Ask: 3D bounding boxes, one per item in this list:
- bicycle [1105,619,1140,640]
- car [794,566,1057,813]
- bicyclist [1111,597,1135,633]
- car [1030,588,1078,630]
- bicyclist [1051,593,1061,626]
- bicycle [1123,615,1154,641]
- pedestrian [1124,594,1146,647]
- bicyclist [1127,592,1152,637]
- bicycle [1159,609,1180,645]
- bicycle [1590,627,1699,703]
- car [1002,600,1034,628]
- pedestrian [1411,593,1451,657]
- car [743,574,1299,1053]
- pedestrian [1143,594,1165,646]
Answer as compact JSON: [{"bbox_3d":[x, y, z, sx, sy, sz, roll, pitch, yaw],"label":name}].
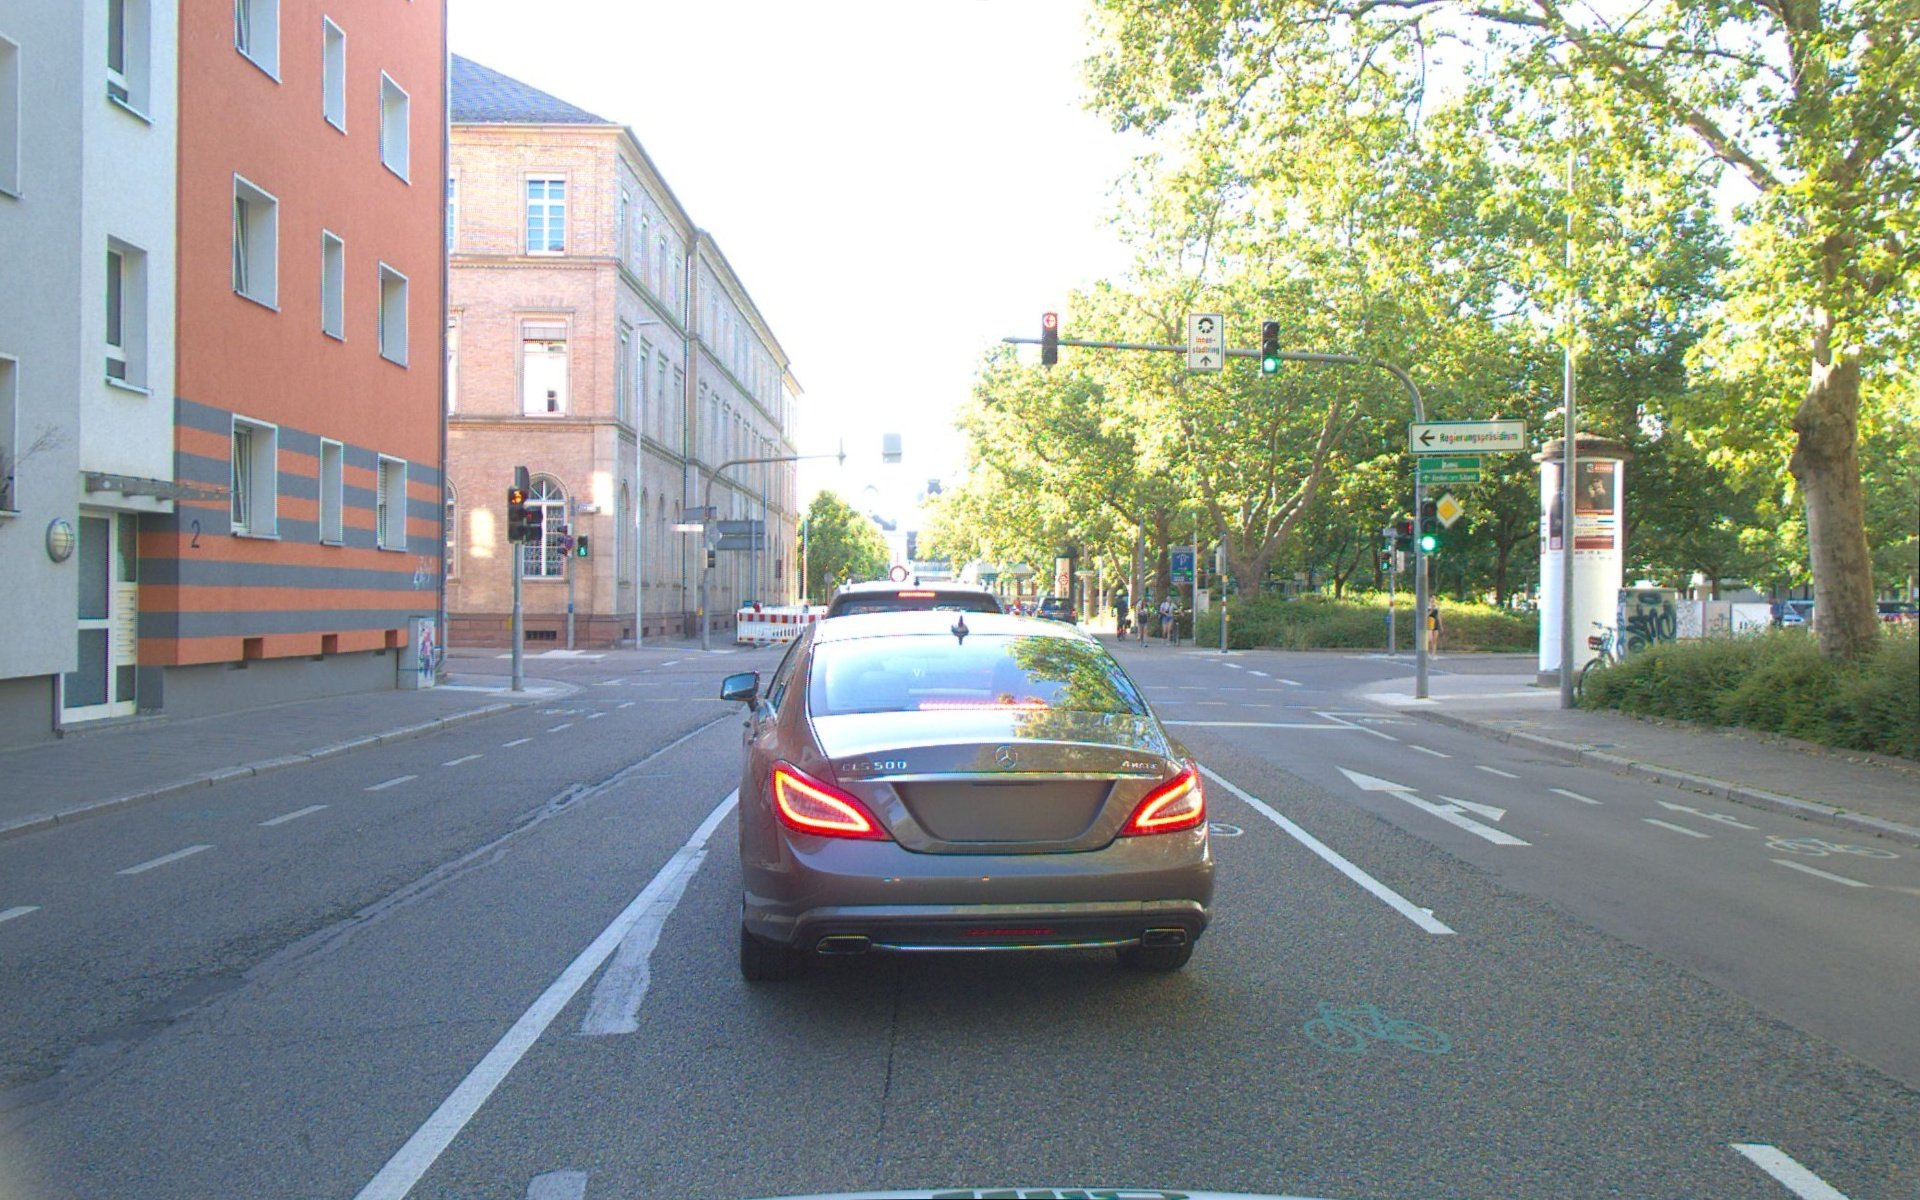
[{"bbox_3d":[6.394,1.145,64.926,0.709,0.805,1.925,1,0,27],"label":"bicycle"},{"bbox_3d":[-0.269,0.621,13.593,1.823,1.712,3.999,1,0,-1],"label":"car"},{"bbox_3d":[6.398,0.586,64.916,0.719,1.422,0.697,1,-1,28],"label":"bicyclist"},{"bbox_3d":[4.153,0.372,73.856,1.823,1.794,4.481,1,0,-1],"label":"car"},{"bbox_3d":[6.106,0.622,105.208,0.583,2.075,0.565,1,-1,-5],"label":"bicyclist"},{"bbox_3d":[6.658,1.045,61.833,0.811,0.940,2.616,1,0,-1],"label":"bicycle"},{"bbox_3d":[6.098,0.697,57.665,0.623,1.828,0.698,1,-1,-5],"label":"pedestrian"},{"bbox_3d":[6.684,0.534,61.711,0.808,1.646,0.957,1,0,-1],"label":"bicyclist"},{"bbox_3d":[7.270,0.944,57.401,0.472,1.223,1.606,1,0,-1],"label":"bicycle"},{"bbox_3d":[9.872,0.924,23.838,1.868,1.046,0.633,1,-1,-39],"label":"bicycle"},{"bbox_3d":[3.337,0.805,95.647,1.670,1.545,3.999,1,0,-1],"label":"car"},{"bbox_3d":[11.697,0.615,41.092,0.624,1.572,0.908,1,0,-10],"label":"pedestrian"},{"bbox_3d":[-0.032,0.692,7.465,1.826,1.545,3.993,1,0,-8],"label":"car"},{"bbox_3d":[6.760,0.705,57.608,0.623,1.791,0.698,1,-1,-5],"label":"pedestrian"}]
